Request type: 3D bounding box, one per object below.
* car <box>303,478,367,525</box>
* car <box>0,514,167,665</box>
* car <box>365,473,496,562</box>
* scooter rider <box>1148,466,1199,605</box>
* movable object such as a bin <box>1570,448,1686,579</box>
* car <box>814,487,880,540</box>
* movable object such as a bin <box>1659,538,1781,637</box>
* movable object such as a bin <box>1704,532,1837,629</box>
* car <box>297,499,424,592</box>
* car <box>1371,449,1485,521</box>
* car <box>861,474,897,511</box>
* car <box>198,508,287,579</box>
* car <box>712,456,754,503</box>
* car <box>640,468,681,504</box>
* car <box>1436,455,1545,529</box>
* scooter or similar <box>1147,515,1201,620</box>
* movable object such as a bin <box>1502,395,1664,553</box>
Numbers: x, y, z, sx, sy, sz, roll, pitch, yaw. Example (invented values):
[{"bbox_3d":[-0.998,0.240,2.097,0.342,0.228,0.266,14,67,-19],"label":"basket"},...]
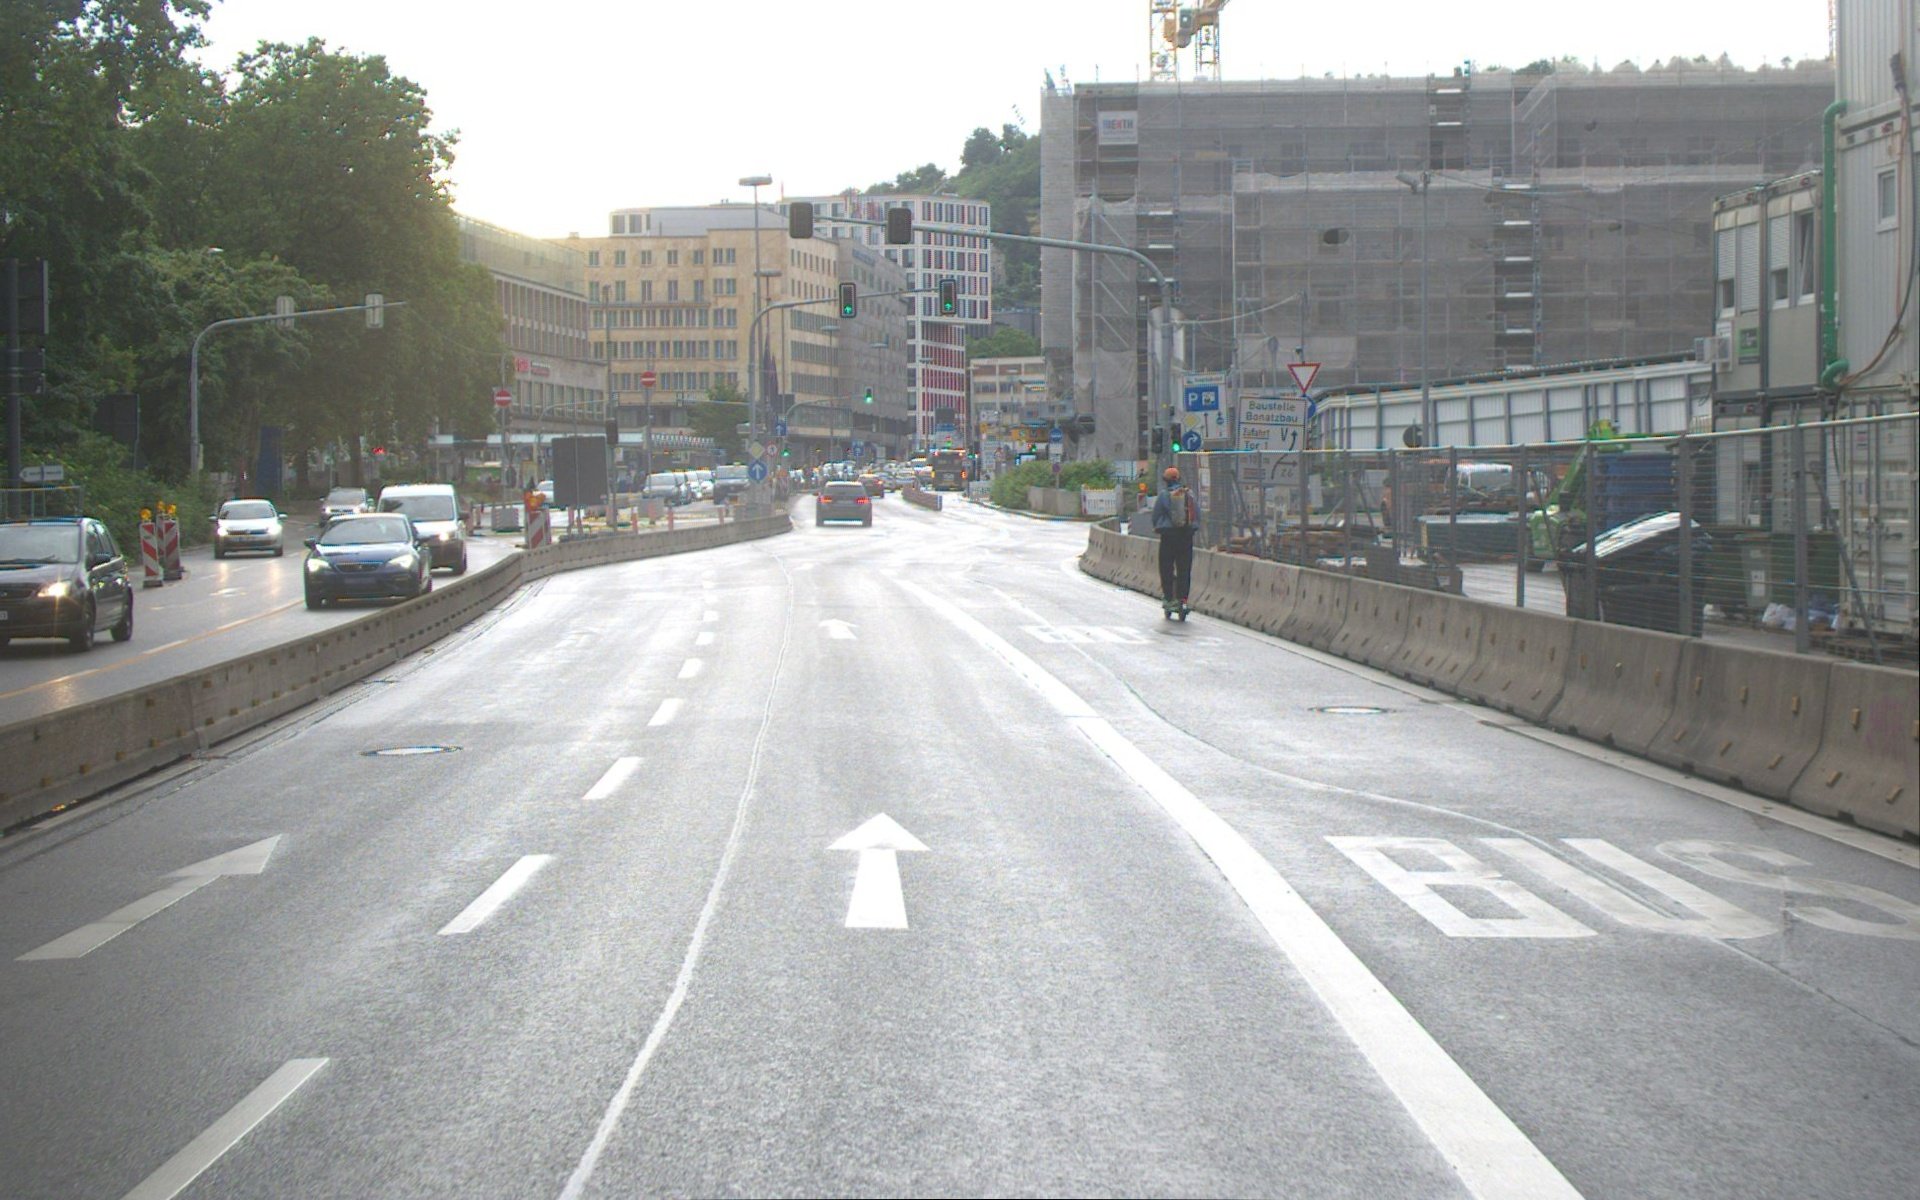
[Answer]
[{"bbox_3d":[-23.534,-3.685,129.559,1.993,1.536,4.446,-2,0,-6],"label":"car"},{"bbox_3d":[-11.181,-0.171,42.044,2.030,1.647,4.320,-1,3,-1],"label":"car"},{"bbox_3d":[-10.637,-1.670,69.402,2.030,1.647,4.912,-2,1,-3],"label":"car"},{"bbox_3d":[2.747,-0.838,44.280,0.597,1.779,0.997,0,2,1],"label":"scooter rider"},{"bbox_3d":[11.463,-1.496,59.019,1.456,2.195,1.265,-1,4,-25],"label":"movable object such as a bin"},{"bbox_3d":[-3.703,-2.791,111.847,1.902,1.523,4.178,-2,0,-4],"label":"car"},{"bbox_3d":[10.005,-0.159,45.321,1.246,1.232,1.239,-2,0,-3],"label":"movable object such as a bin"},{"bbox_3d":[9.965,-0.236,42.312,1.246,1.119,1.239,-2,0,-3],"label":"movable object such as a bin"},{"bbox_3d":[-9.385,-0.861,54.055,1.711,1.334,4.063,-3,1,-7],"label":"car"},{"bbox_3d":[13.092,-3.226,96.439,1.911,1.968,5.164,0,2,-7],"label":"car"},{"bbox_3d":[-4.832,-6.398,204.554,1.993,2.007,4.000,-2,0,-1],"label":"car"},{"bbox_3d":[-18.894,-1.465,90.656,1.875,1.700,4.001,-2,0,-6],"label":"car"},{"bbox_3d":[-11.207,-5.943,169.535,1.902,2.075,4.178,-2,0,-4],"label":"car"},{"bbox_3d":[-14.674,-5.593,168.735,1.902,1.523,4.178,-2,0,-4],"label":"car"},{"bbox_3d":[13.922,-2.876,90.513,1.846,1.800,5.088,0,3,-3],"label":"car"},{"bbox_3d":[2.751,-0.426,44.311,0.597,1.314,1.667,0,2,0],"label":"scooter or similar"},{"bbox_3d":[11.359,-2.350,62.878,1.806,2.799,3.868,0,3,-7],"label":"movable object such as a bin"}]
